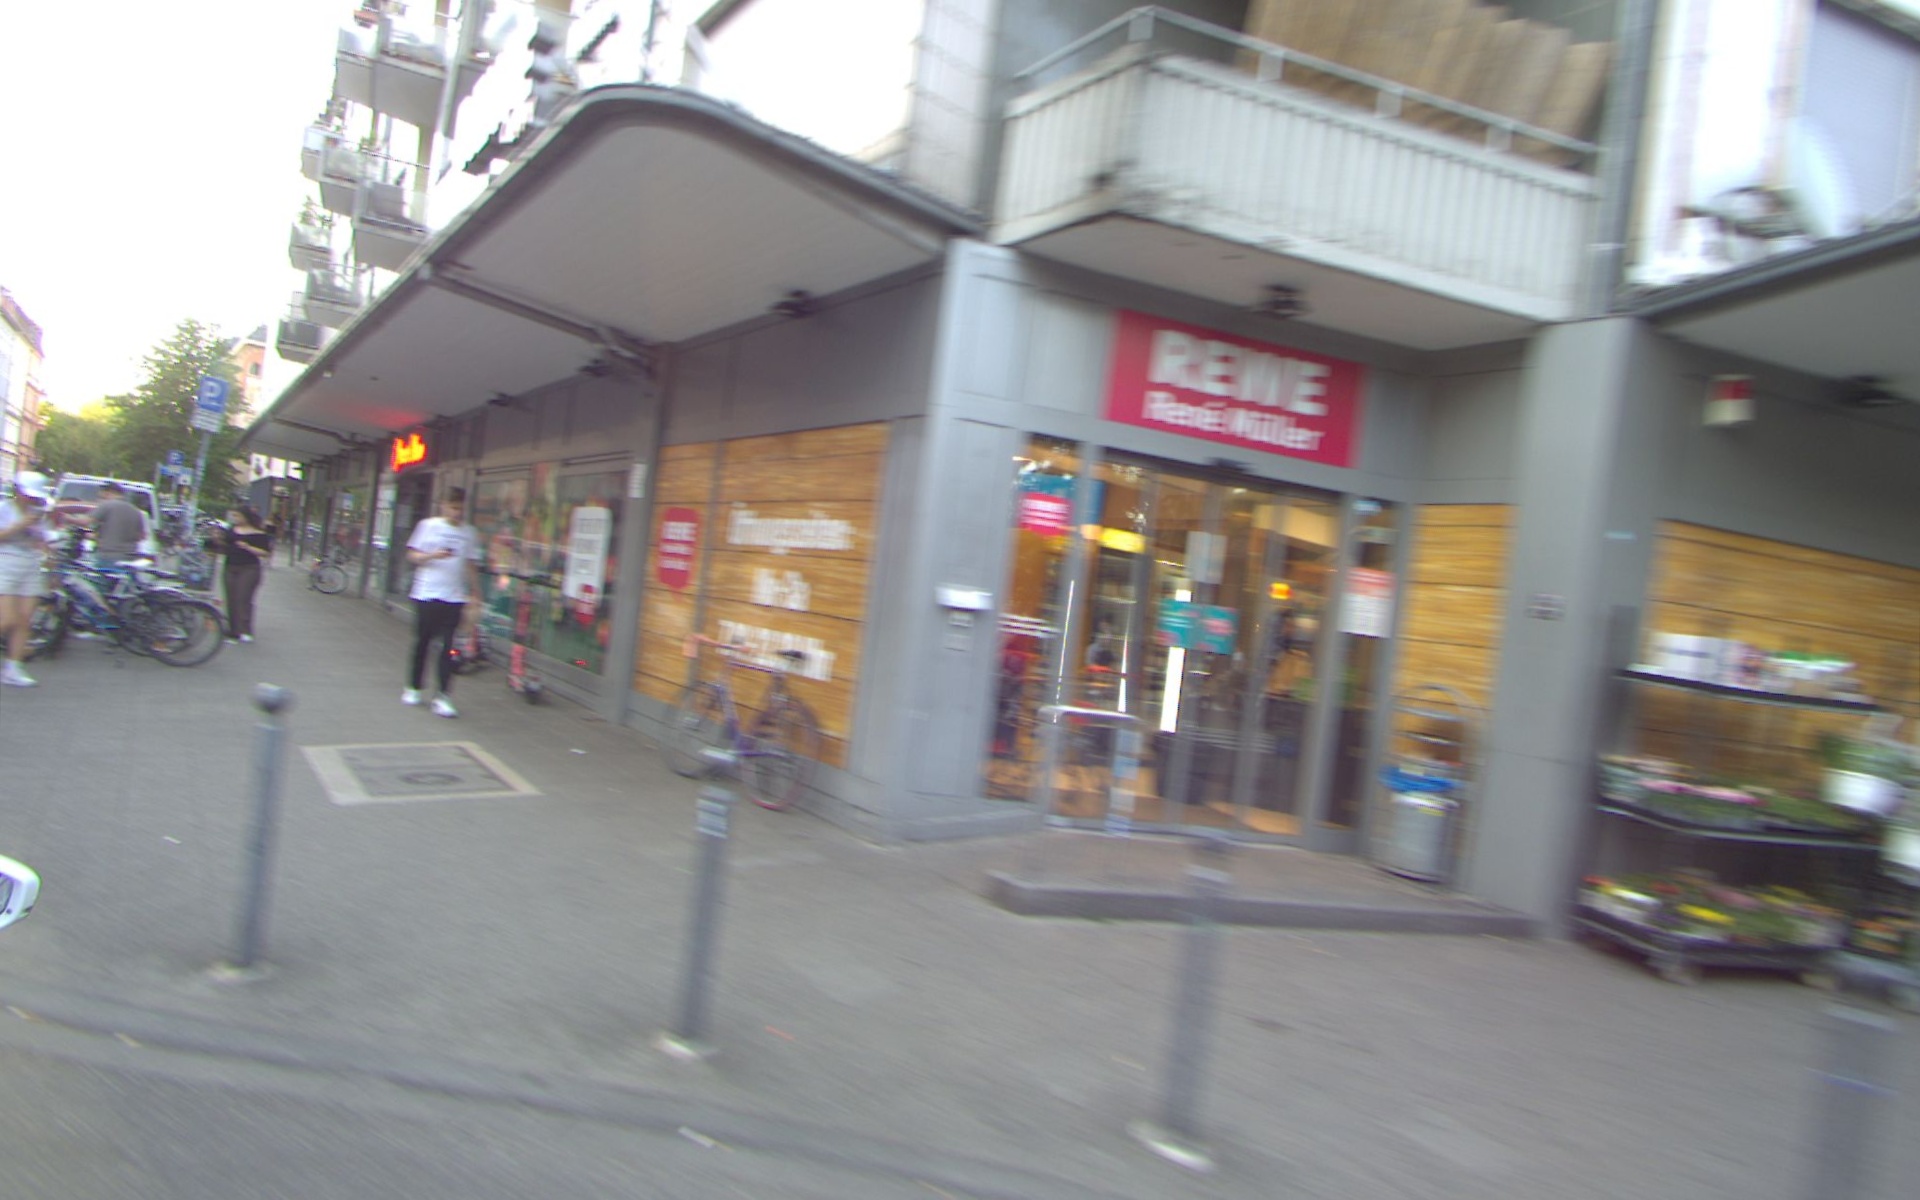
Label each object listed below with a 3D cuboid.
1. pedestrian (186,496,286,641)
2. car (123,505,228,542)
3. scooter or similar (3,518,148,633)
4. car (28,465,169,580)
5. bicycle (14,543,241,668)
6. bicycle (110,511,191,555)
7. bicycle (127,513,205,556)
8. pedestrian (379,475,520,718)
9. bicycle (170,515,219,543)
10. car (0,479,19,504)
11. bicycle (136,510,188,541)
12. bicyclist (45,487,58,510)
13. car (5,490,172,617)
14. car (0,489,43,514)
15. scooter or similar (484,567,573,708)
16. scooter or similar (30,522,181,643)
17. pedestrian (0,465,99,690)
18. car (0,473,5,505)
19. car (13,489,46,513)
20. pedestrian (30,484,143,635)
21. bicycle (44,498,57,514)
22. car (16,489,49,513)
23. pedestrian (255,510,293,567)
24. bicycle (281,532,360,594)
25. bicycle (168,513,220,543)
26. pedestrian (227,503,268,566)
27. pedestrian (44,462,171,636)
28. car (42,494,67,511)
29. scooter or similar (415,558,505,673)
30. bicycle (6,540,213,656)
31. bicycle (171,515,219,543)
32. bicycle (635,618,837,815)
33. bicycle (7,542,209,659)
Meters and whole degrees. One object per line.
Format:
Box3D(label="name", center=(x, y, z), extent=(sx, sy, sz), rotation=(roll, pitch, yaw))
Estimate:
Box3D(label="pedestrian", center=(-8.851, -0.381, 12.323), extent=(0.714, 1.653, 0.561), rotation=(6, 2, -10))
Box3D(label="car", center=(-43.805, -4.251, 56.244), extent=(4.409, 1.474, 1.757), rotation=(6, 1, -45))
Box3D(label="scooter or similar", center=(-10.102, -0.273, 11.532), extent=(0.527, 1.186, 1.163), rotation=(8, 2, 1))
Box3D(label="car", center=(-18.433, -1.675, 21.732), extent=(1.948, 1.999, 4.949), rotation=(5, 1, -38))
Box3D(label="bicycle", center=(-7.706, 0.071, 9.375), extent=(1.541, 1.014, 0.505), rotation=(6, 0, -42))
Box3D(label="bicycle", center=(-25.433, -2.101, 31.611), extent=(1.909, 1.149, 0.657), rotation=(6, 1, -2))
Box3D(label="bicycle", center=(-25.666, -2.100, 32.522), extent=(1.909, 1.149, 0.657), rotation=(6, 1, -2))
Box3D(label="pedestrian", center=(-4.431, -0.038, 8.700), extent=(0.756, 1.937, 1.177), rotation=(4, 2, -38))
Box3D(label="bicycle", center=(-35.281, -3.260, 46.379), extent=(1.711, 1.067, 0.647), rotation=(5, 1, -36))
Box3D(label="car", center=(-64.220, -7.311, 67.011), extent=(1.730, 1.434, 4.727), rotation=(10, -3, -39))
Box3D(label="bicycle", center=(-35.813, -3.339, 45.176), extent=(1.712, 1.132, 0.700), rotation=(5, 1, -36))
Box3D(label="bicyclist", center=(-68.348, -7.604, 75.685), extent=(0.642, 1.641, 0.907), rotation=(5, 2, -42))
Box3D(label="car", center=(-12.635, -0.705, 14.654), extent=(1.585, 1.520, 3.384), rotation=(5, 1, -41))
Box3D(label="car", center=(-69.698, -7.293, 74.755), extent=(1.828, 1.473, 4.162), rotation=(11, -3, -38))
Box3D(label="scooter or similar", center=(-4.263, 0.330, 9.880), extent=(0.474, 1.233, 1.611), rotation=(6, 0, -31))
Box3D(label="scooter or similar", center=(-9.452, -0.179, 11.143), extent=(0.530, 1.186, 1.157), rotation=(10, 3, 44))
Box3D(label="pedestrian", center=(-7.375, -0.194, 7.851), extent=(0.868, 1.673, 0.662), rotation=(6, 2, 28))
Box3D(label="car", center=(-58.657, -6.814, 60.040), extent=(1.988, 1.945, 4.894), rotation=(10, -2, -41))
Box3D(label="car", center=(-75.817, -8.073, 82.000), extent=(1.630, 1.583, 3.739), rotation=(9, -2, -39))
Box3D(label="pedestrian", center=(-9.925, -0.445, 11.445), extent=(0.580, 1.620, 0.647), rotation=(6, 1, 11))
Box3D(label="bicycle", center=(-68.397, -7.101, 75.687), extent=(0.642, 1.095, 2.143), rotation=(5, 1, -42))
Box3D(label="car", center=(-79.498, -8.475, 86.286), extent=(1.838, 1.679, 4.203), rotation=(7, -1, -41))
Box3D(label="pedestrian", center=(-21.357, -1.904, 31.337), extent=(0.701, 1.686, 0.741), rotation=(5, 0, -21))
Box3D(label="bicycle", center=(-14.281, -0.828, 22.447), extent=(1.686, 1.211, 0.909), rotation=(6, 1, 38))
Box3D(label="bicycle", center=(-34.678, -3.239, 45.559), extent=(0.570, 1.146, 1.720), rotation=(6, 1, 39))
Box3D(label="pedestrian", center=(-22.065, -2.019, 31.168), extent=(0.700, 1.851, 0.857), rotation=(5, 0, -20))
Box3D(label="pedestrian", center=(-9.278, -0.536, 10.961), extent=(0.651, 1.778, 0.737), rotation=(7, 1, 23))
Box3D(label="car", center=(-93.246, -10.014, 103.580), extent=(1.694, 1.442, 3.975), rotation=(10, -2, -41))
Box3D(label="scooter or similar", center=(-5.795, 0.165, 11.710), extent=(0.528, 1.218, 1.161), rotation=(7, 0, -12))
Box3D(label="bicycle", center=(-8.509, -0.011, 10.134), extent=(1.468, 1.014, 0.506), rotation=(6, 0, -33))
Box3D(label="bicycle", center=(-35.663, -3.303, 46.923), extent=(1.711, 1.067, 0.647), rotation=(5, 1, -36))
Box3D(label="bicycle", center=(-1.558, 0.729, 6.766), extent=(0.454, 1.036, 1.763), rotation=(8, -1, -40))
Box3D(label="bicycle", center=(-8.229, 0.018, 9.764), extent=(1.412, 0.996, 0.505), rotation=(6, 0, -42))
